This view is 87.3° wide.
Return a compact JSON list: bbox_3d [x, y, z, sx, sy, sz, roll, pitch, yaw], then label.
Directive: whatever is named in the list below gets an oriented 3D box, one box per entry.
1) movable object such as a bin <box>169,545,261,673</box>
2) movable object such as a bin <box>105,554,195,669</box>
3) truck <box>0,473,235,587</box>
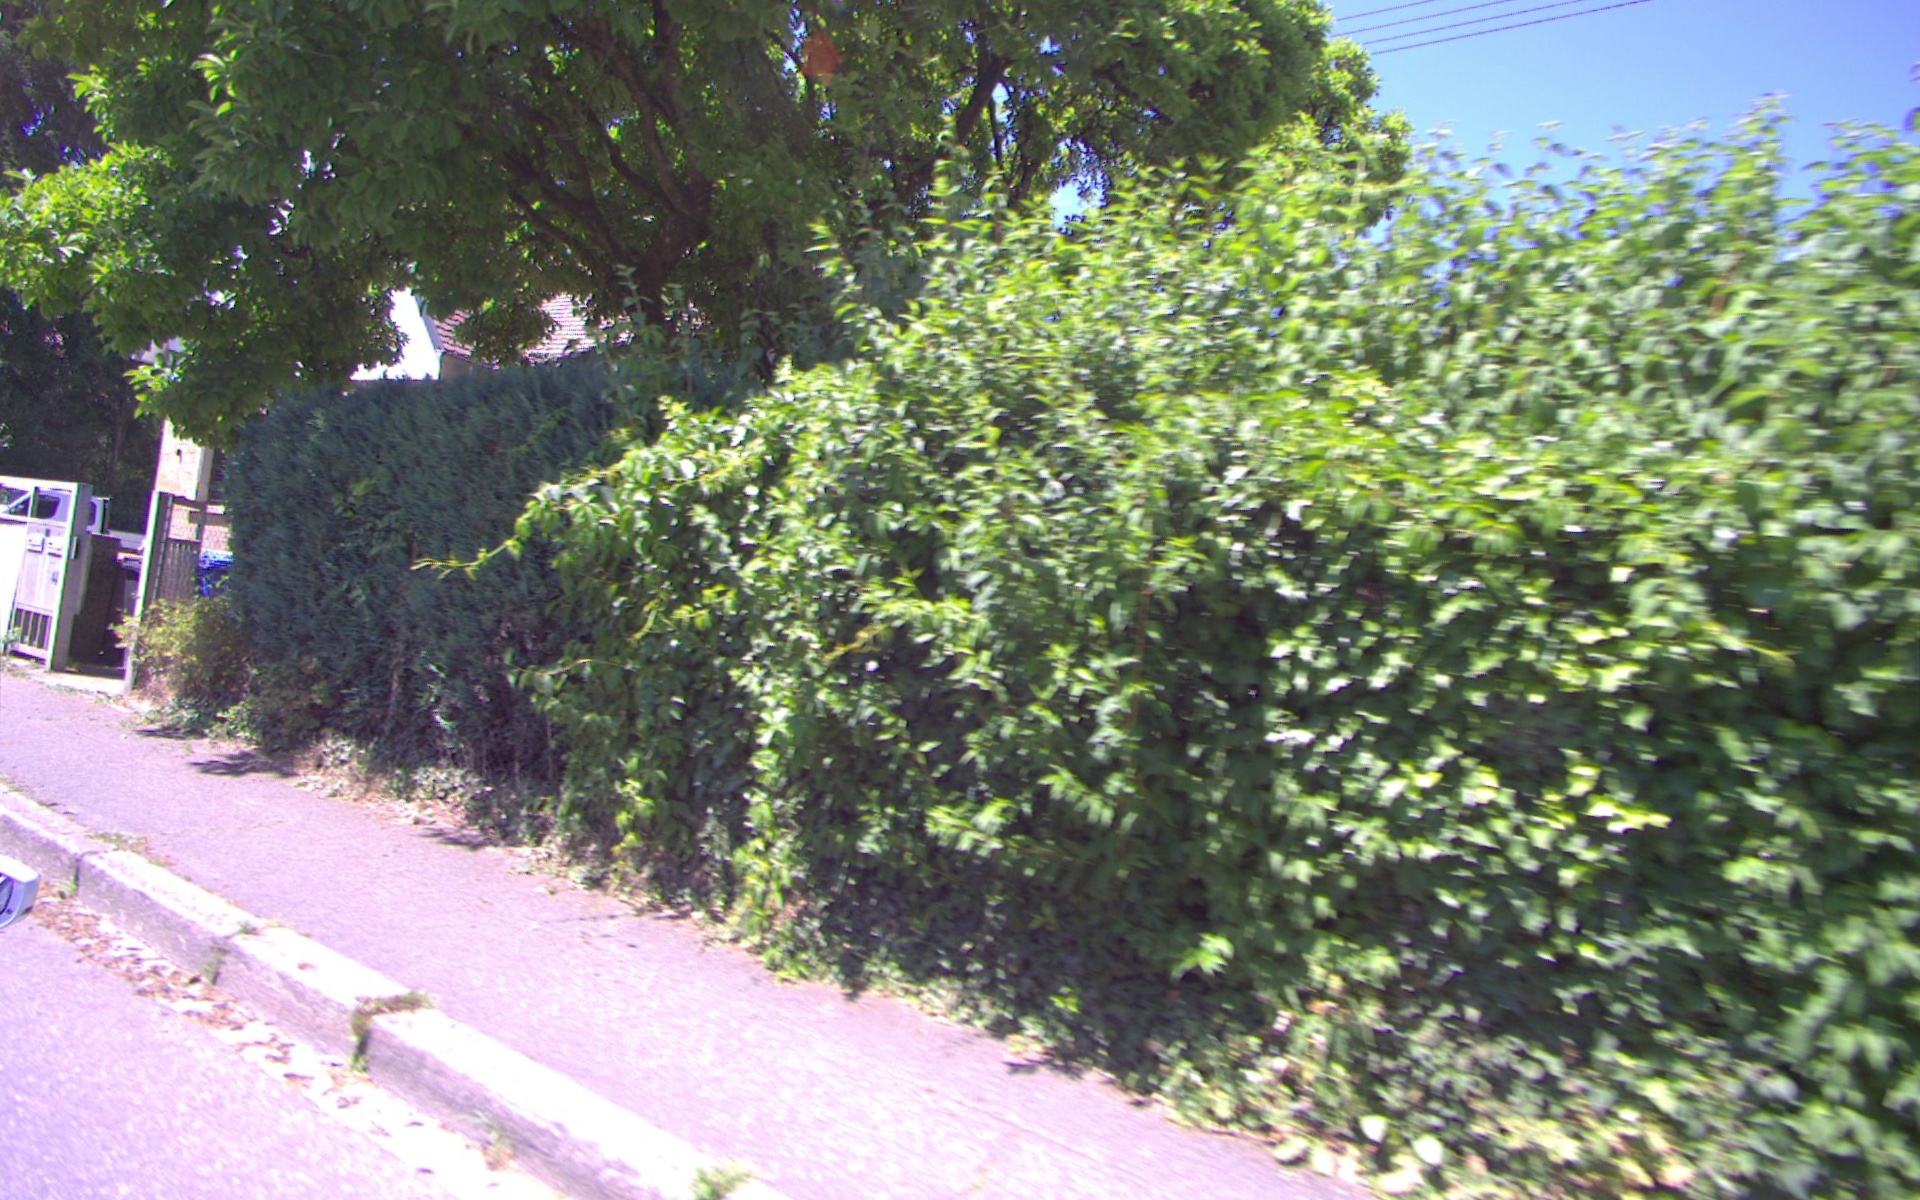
[{"bbox_3d":[-6.767,0.085,9.142,0.537,1.077,0.400,7,0,31],"label":"movable object such as a bin"},{"bbox_3d":[-7.100,0.104,8.817,0.456,0.934,0.400,7,0,31],"label":"movable object such as a bin"},{"bbox_3d":[-25.110,-2.039,28.905,1.943,2.190,6.642,8,-4,24],"label":"truck"}]
